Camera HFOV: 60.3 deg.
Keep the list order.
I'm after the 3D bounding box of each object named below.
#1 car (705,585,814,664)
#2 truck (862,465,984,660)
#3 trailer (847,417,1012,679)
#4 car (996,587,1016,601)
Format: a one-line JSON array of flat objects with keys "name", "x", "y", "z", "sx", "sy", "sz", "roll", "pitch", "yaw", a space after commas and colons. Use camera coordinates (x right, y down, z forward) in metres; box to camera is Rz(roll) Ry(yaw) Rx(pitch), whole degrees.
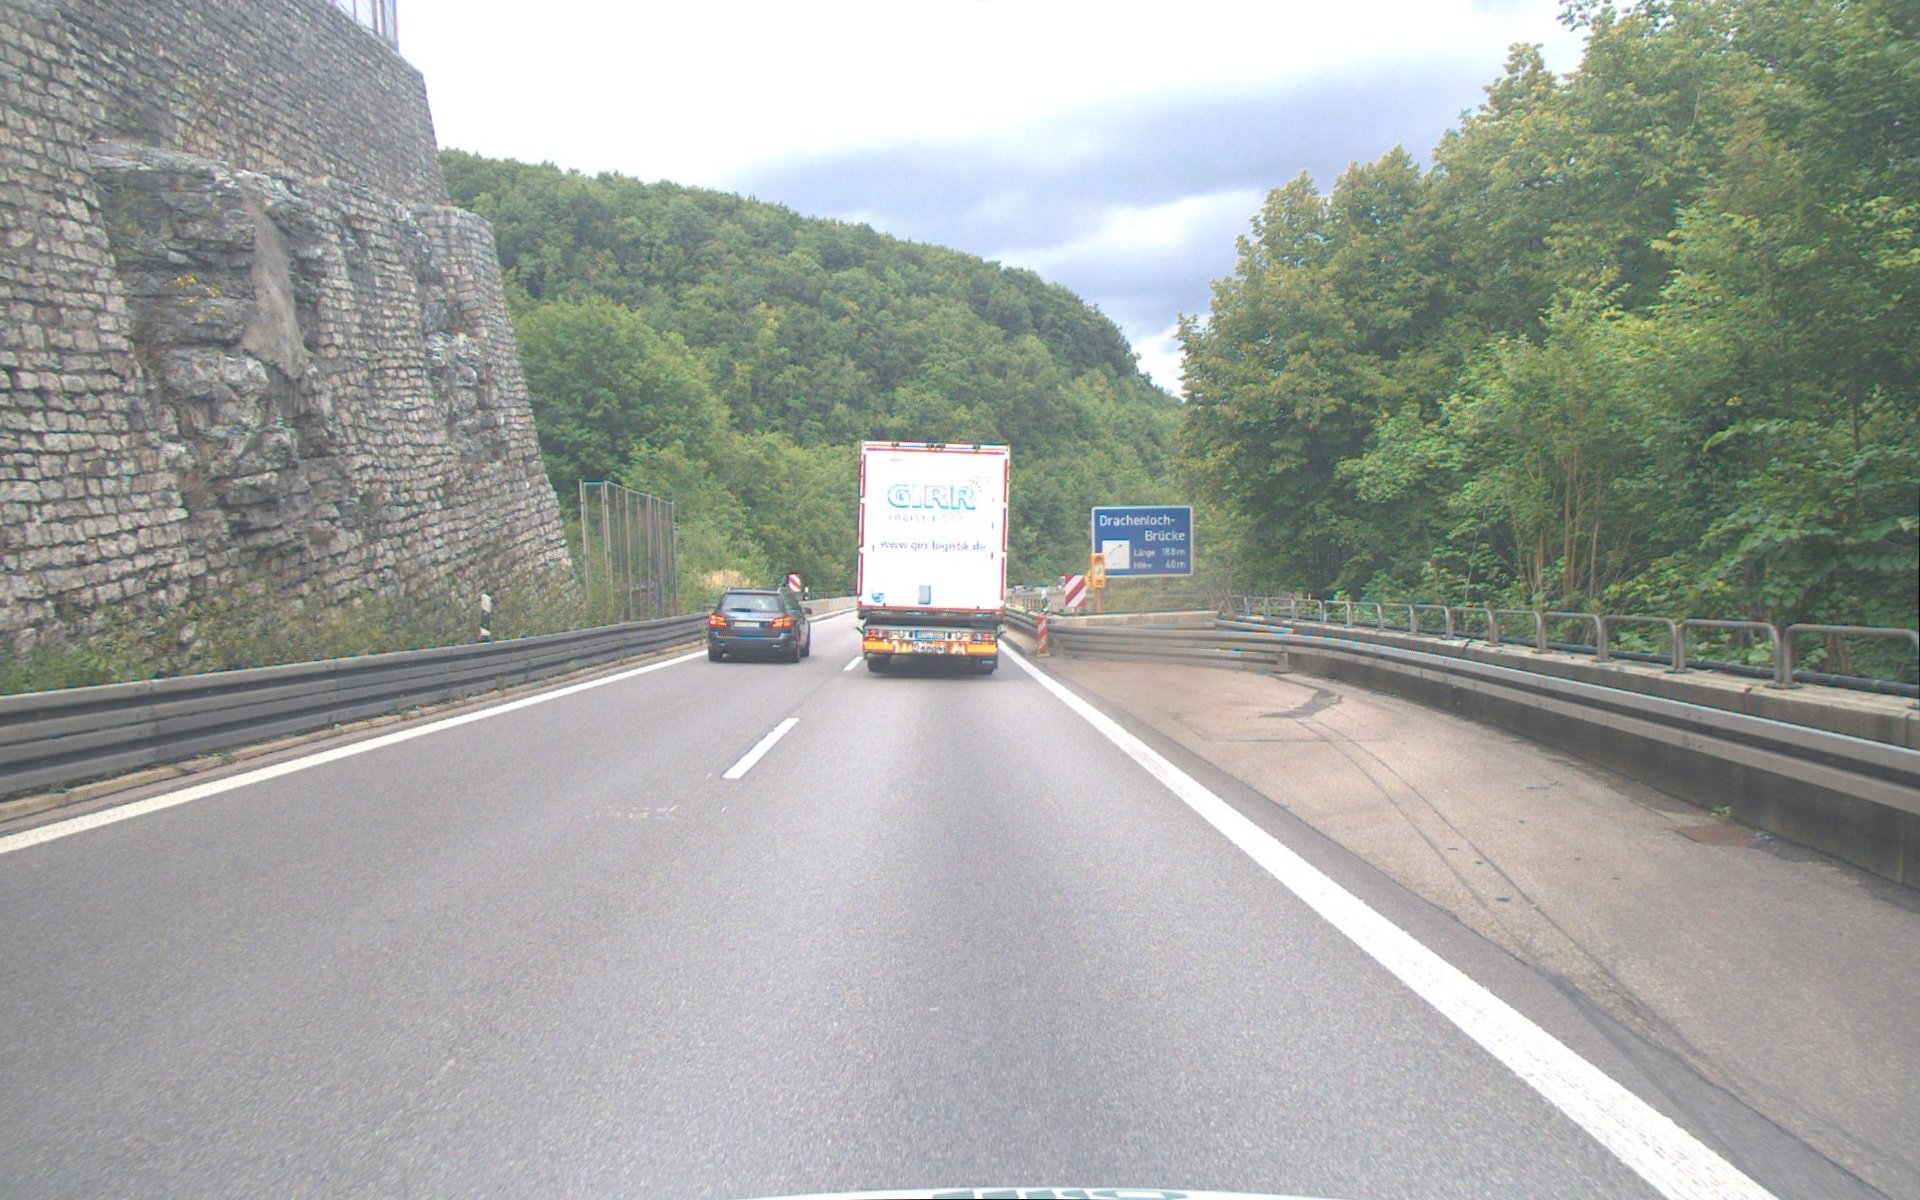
[{"name": "car", "x": -4.094, "y": 0.490, "z": 34.351, "sx": 1.845, "sy": 1.536, "sz": 4.417, "roll": 0, "pitch": 0, "yaw": -2}, {"name": "truck", "x": -0.941, "y": -0.829, "z": 40.249, "sx": 2.757, "sy": 4.378, "sz": 6.256, "roll": 0, "pitch": 0, "yaw": -2}, {"name": "trailer", "x": -0.723, "y": -0.851, "z": 33.804, "sx": 2.757, "sy": 4.378, "sz": 12.239, "roll": 0, "pitch": 0, "yaw": -2}, {"name": "car", "x": 5.755, "y": -0.791, "z": 207.547, "sx": 1.951, "sy": 1.713, "sz": 4.003, "roll": 0, "pitch": -1, "yaw": 9}]
